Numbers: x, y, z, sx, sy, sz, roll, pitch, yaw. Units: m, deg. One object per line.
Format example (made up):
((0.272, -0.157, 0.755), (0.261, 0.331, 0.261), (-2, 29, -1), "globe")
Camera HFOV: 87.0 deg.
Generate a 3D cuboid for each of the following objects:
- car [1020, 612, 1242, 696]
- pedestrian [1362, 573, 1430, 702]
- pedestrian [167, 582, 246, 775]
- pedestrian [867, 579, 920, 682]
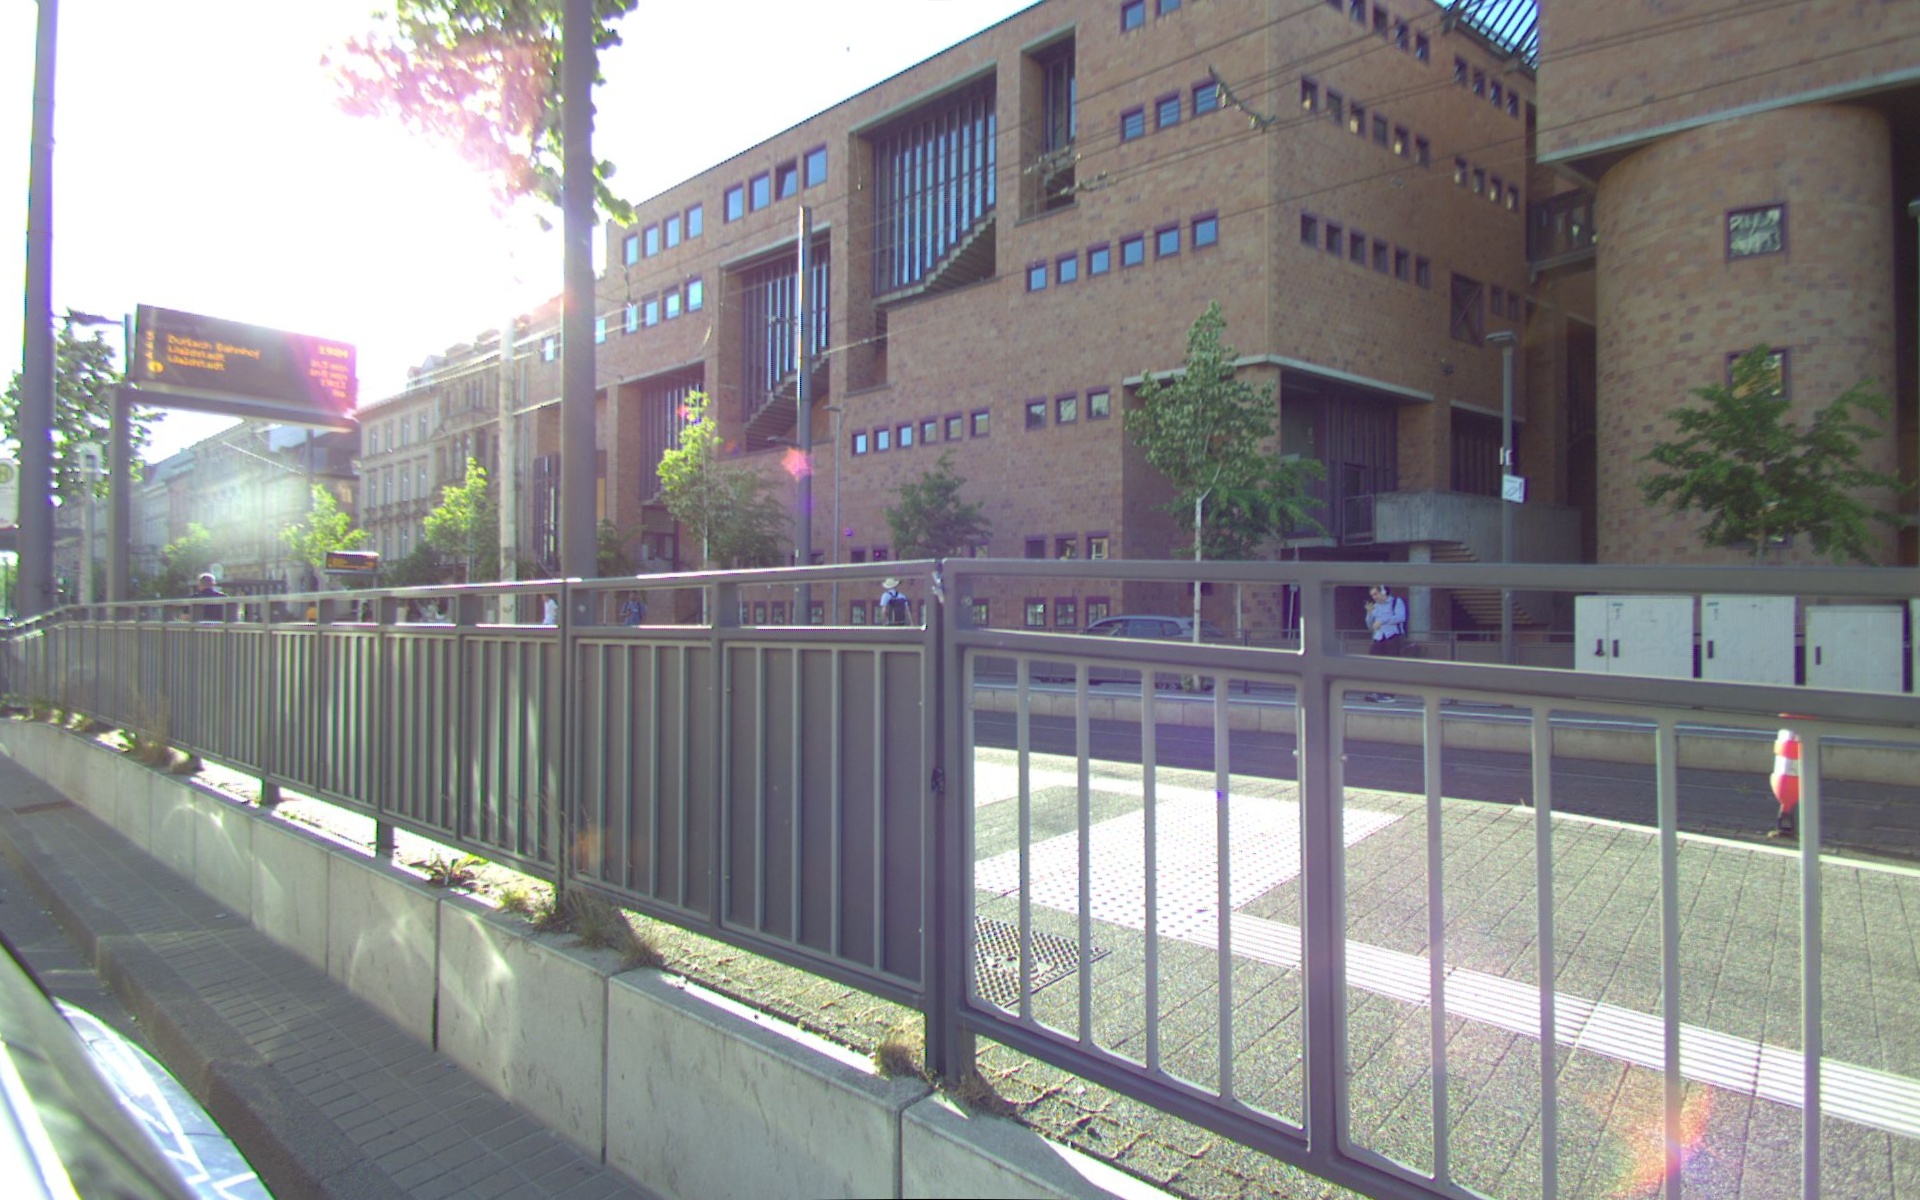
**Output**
((3.509, 1.058, 21.101), (4.234, 1.580, 1.808), (0, -2, 37), "car")
((5.793, 0.482, 13.445), (0.684, 1.647, 0.660), (0, 0, 37), "pedestrian")
((-9.928, 0.998, 13.336), (0.625, 2.461, 0.676), (0, 0, 38), "pedestrian")
((-1.201, 0.534, 18.234), (0.668, 1.821, 0.677), (0, 0, 40), "pedestrian")
